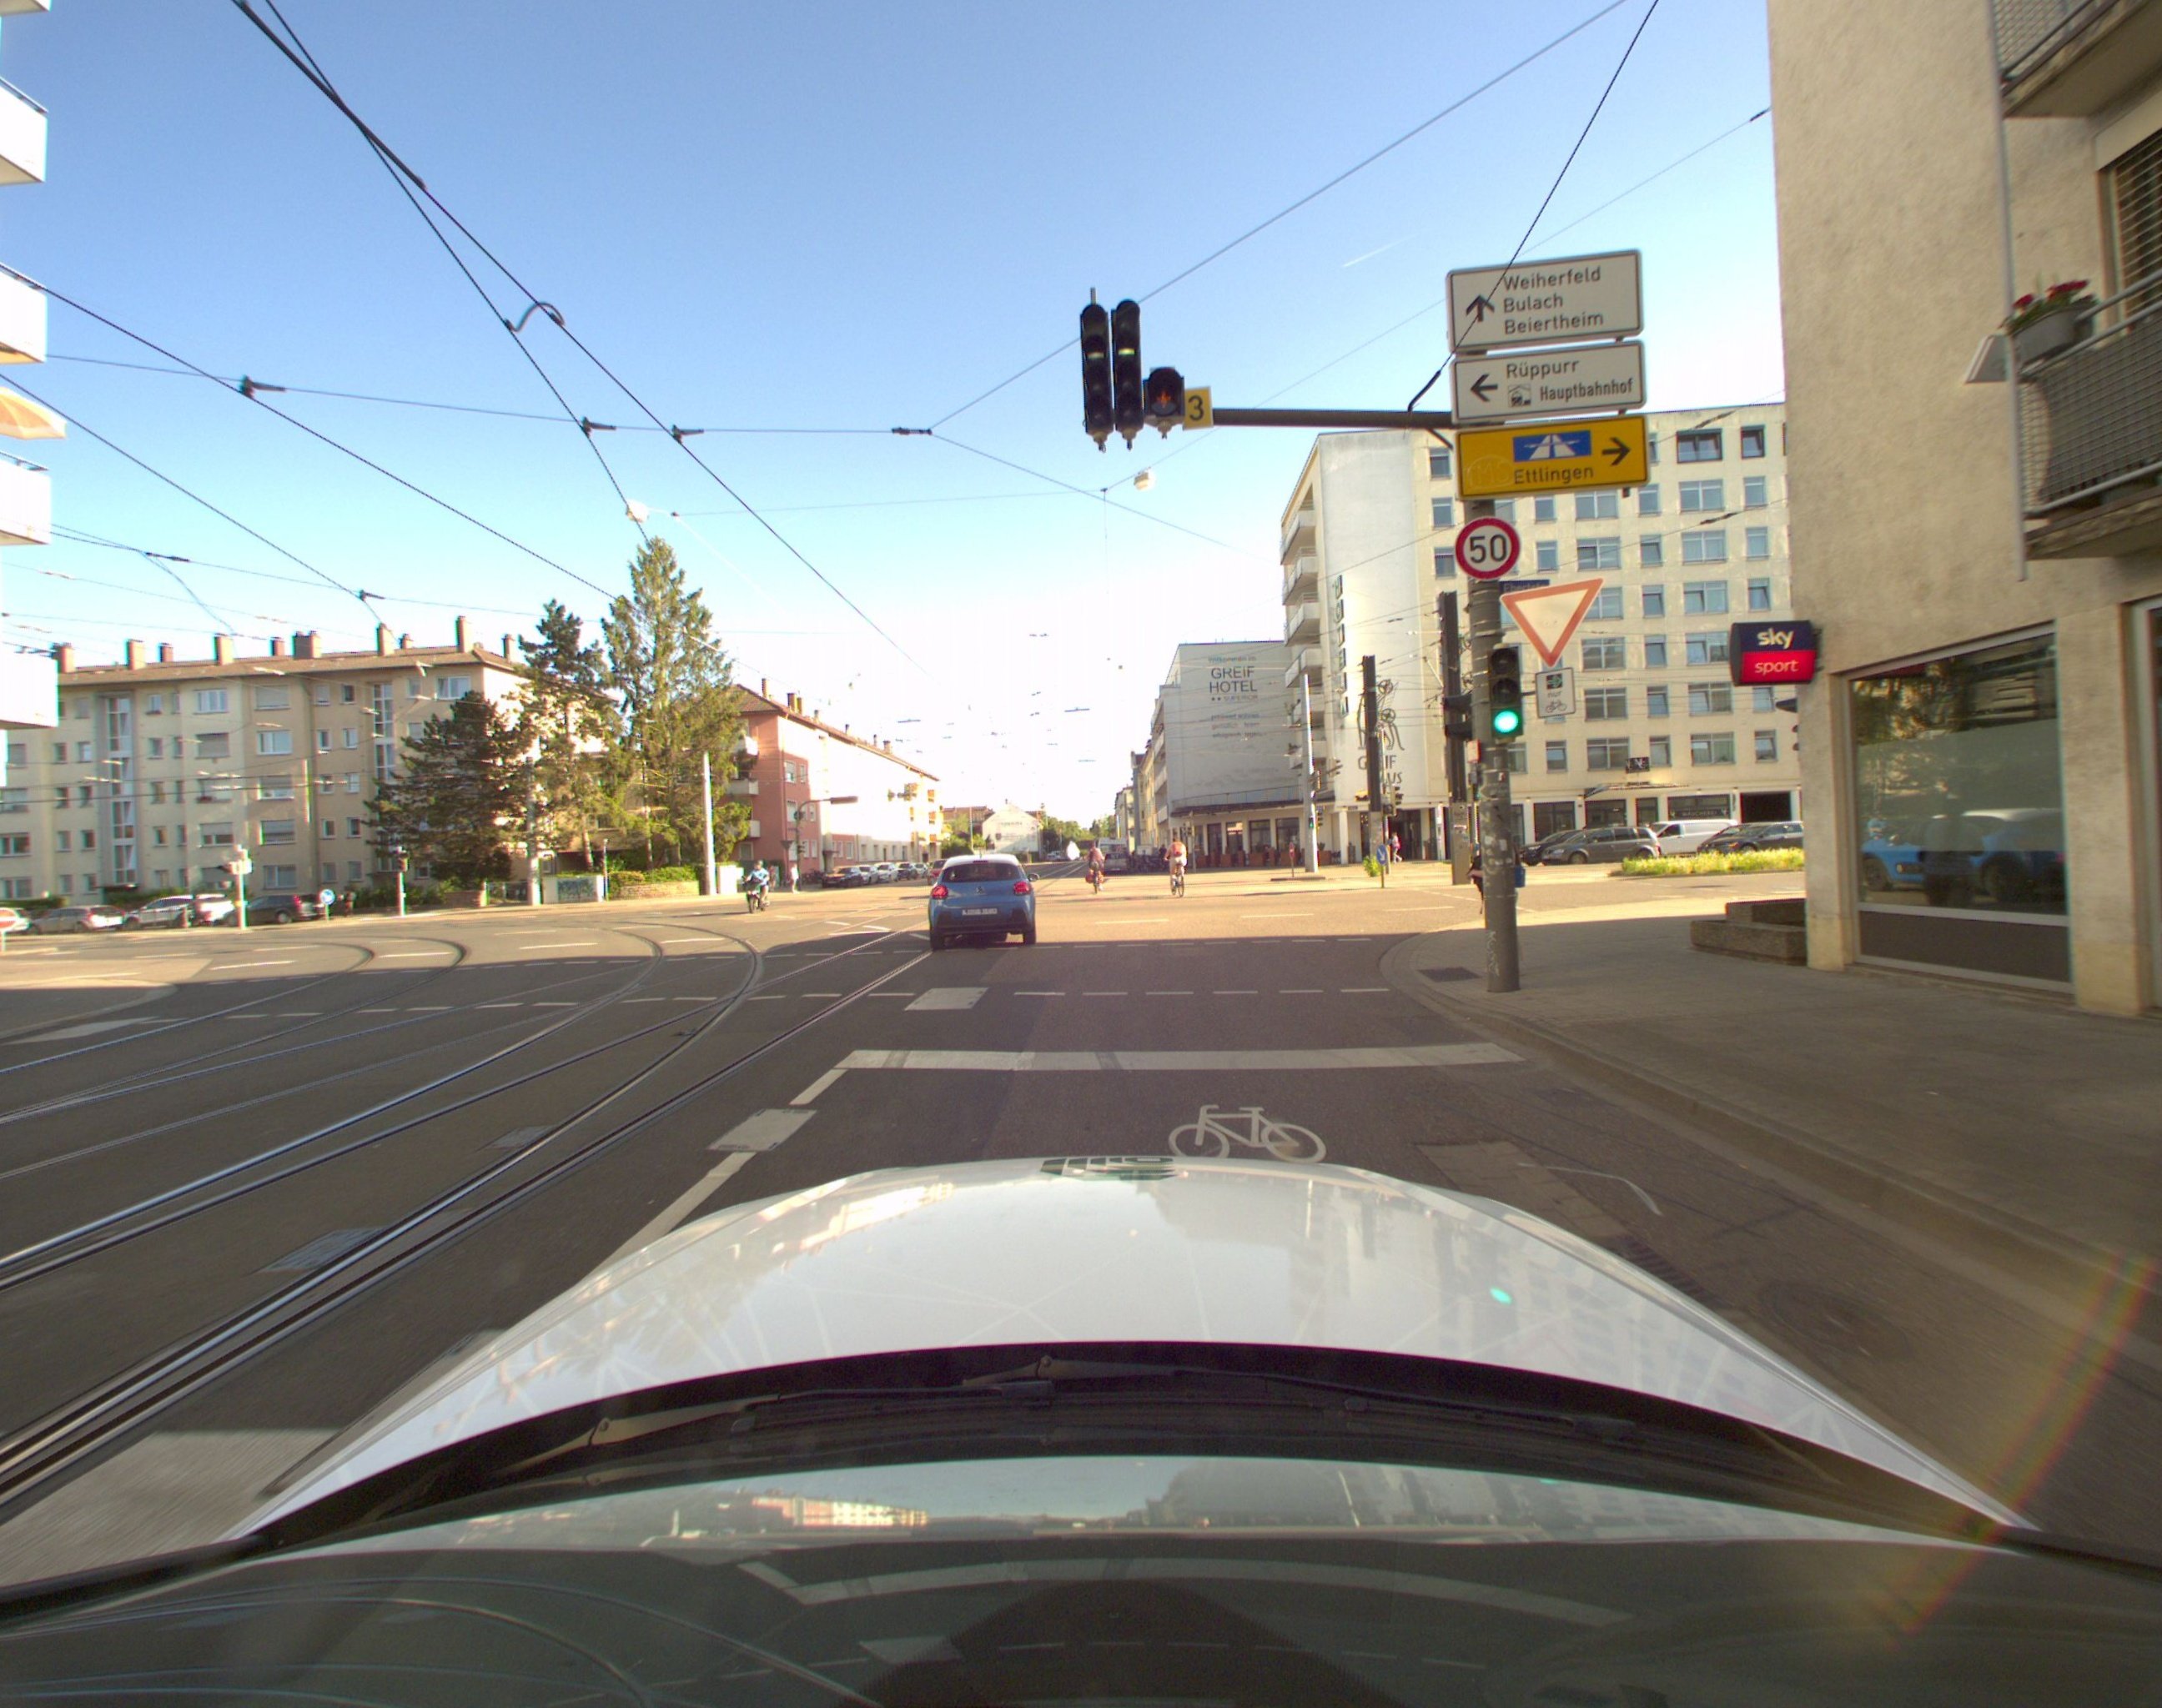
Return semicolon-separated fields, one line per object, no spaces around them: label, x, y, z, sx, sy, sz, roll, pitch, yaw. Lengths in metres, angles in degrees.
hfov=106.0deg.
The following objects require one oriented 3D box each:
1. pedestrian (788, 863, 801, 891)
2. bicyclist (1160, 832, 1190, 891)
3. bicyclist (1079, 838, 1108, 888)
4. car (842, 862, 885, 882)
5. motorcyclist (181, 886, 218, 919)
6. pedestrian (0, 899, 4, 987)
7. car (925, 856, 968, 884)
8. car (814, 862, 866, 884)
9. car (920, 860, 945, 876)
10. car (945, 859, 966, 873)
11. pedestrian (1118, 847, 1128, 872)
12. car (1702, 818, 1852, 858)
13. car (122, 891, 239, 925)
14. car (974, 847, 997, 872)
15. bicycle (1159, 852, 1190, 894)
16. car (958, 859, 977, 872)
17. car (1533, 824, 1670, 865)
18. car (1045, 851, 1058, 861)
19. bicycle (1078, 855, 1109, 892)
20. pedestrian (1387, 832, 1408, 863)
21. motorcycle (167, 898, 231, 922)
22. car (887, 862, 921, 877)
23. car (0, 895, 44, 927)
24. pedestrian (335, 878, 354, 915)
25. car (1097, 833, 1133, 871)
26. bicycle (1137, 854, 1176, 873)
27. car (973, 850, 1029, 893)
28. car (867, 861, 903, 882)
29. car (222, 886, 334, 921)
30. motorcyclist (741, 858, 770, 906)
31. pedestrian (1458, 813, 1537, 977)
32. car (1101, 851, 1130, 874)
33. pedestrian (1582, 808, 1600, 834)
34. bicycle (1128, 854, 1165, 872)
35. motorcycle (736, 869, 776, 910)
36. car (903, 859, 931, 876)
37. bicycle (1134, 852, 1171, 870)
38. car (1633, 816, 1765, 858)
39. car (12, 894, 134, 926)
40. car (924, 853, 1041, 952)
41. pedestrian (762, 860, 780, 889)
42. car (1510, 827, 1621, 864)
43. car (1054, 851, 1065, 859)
pedestrian;-16.555;1.335;47.005;0.514;1.568;0.574;0;0;2
bicyclist;2.791;0.219;24.115;0.806;1.692;0.937;0;0;9
bicyclist;0.443;0.306;27.818;0.936;1.673;1.080;0;0;3
car;-16.083;1.296;60.520;1.895;1.436;4.106;0;0;3
motorcyclist;-40.287;2.207;37.222;0.725;1.488;0.857;0;0;-3
pedestrian;-17.139;1.173;12.336;0.731;1.792;0.663;-2;0;8
car;-7.715;0.875;46.966;1.773;1.486;3.828;-3;0;0
car;-16.209;1.318;54.997;2.147;1.432;4.439;0;-2;0
car;-15.306;1.415;84.191;1.864;1.576;3.999;0;0;0
car;-15.106;1.459;98.355;1.864;1.576;3.999;0;0;0
pedestrian;2.809;0.374;54.337;0.611;1.654;0.670;0;0;-2
car;28.854;-0.627;33.892;4.504;1.491;1.827;-2;0;5
car;-45.942;2.743;41.602;4.005;1.598;1.774;0;0;1
car;-12.269;0.697;104.700;2.408;3.142;3.490;0;0;2
bicycle;2.822;0.543;24.325;0.806;1.181;2.069;0;0;9
car;-14.628;1.479;105.348;1.864;1.576;3.999;0;0;0
car;21.724;-0.385;34.133;4.417;1.548;1.939;-2;0;5
car;-5.659;0.376;155.626;2.209;1.932;4.951;0;0;2
bicycle;0.447;0.642;27.867;0.936;1.223;2.096;0;0;4
pedestrian;17.586;-0.361;45.244;0.903;1.746;0.737;0;0;1
motorcycle;-40.291;2.551;37.225;1.931;1.047;0.857;0;0;-4
car;-15.586;1.370;71.904;1.940;1.239;4.283;0;0;1
car;-56.773;2.966;42.323;3.761;1.558;1.663;0;0;2
pedestrian;-38.130;2.194;42.158;0.703;1.886;0.771;0;-1;-40
car;2.326;-0.137;57.288;2.258;2.482;5.007;-1;0;0
bicycle;4.651;0.560;50.173;2.244;1.001;0.856;-4;0;0
car;-3.019;0.619;31.449;1.779;1.521;3.762;0;1;0
car;-15.708;1.374;65.300;1.735;1.526;4.231;0;0;2
car;-40.644;2.481;41.273;4.039;1.628;1.874;0;0;5
motorcyclist;-10.396;0.899;26.012;0.693;1.497;0.682;-2;-2;-9
pedestrian;4.399;0.424;8.621;0.534;1.624;0.737;-7;-3;26
car;2.175;0.539;52.330;1.653;1.431;3.886;0;0;-1
pedestrian;27.885;-1.802;44.526;0.528;1.376;0.681;0;0;-18
bicycle;4.240;0.592;52.680;2.244;1.001;0.856;-4;0;0
motorcycle;-10.345;1.117;25.982;0.711;1.220;1.959;-2;-2;-9
car;-15.681;1.255;78.134;1.864;1.576;3.999;0;0;0
bicycle;4.524;0.446;51.560;2.244;1.001;0.856;-4;0;0
car;31.917;-0.893;42.166;5.286;1.868;1.951;-2;3;3
car;-51.648;2.863;41.777;4.005;1.478;1.835;0;0;1
car;-1.656;0.736;14.235;1.734;1.452;3.655;-1;0;-5
pedestrian;-18.349;1.204;48.148;0.789;1.722;0.696;0;-1;-44
car;22.290;-0.385;37.570;4.017;1.575;1.796;-2;0;2
car;-4.581;0.181;173.161;2.066;1.762;5.039;0;0;2
